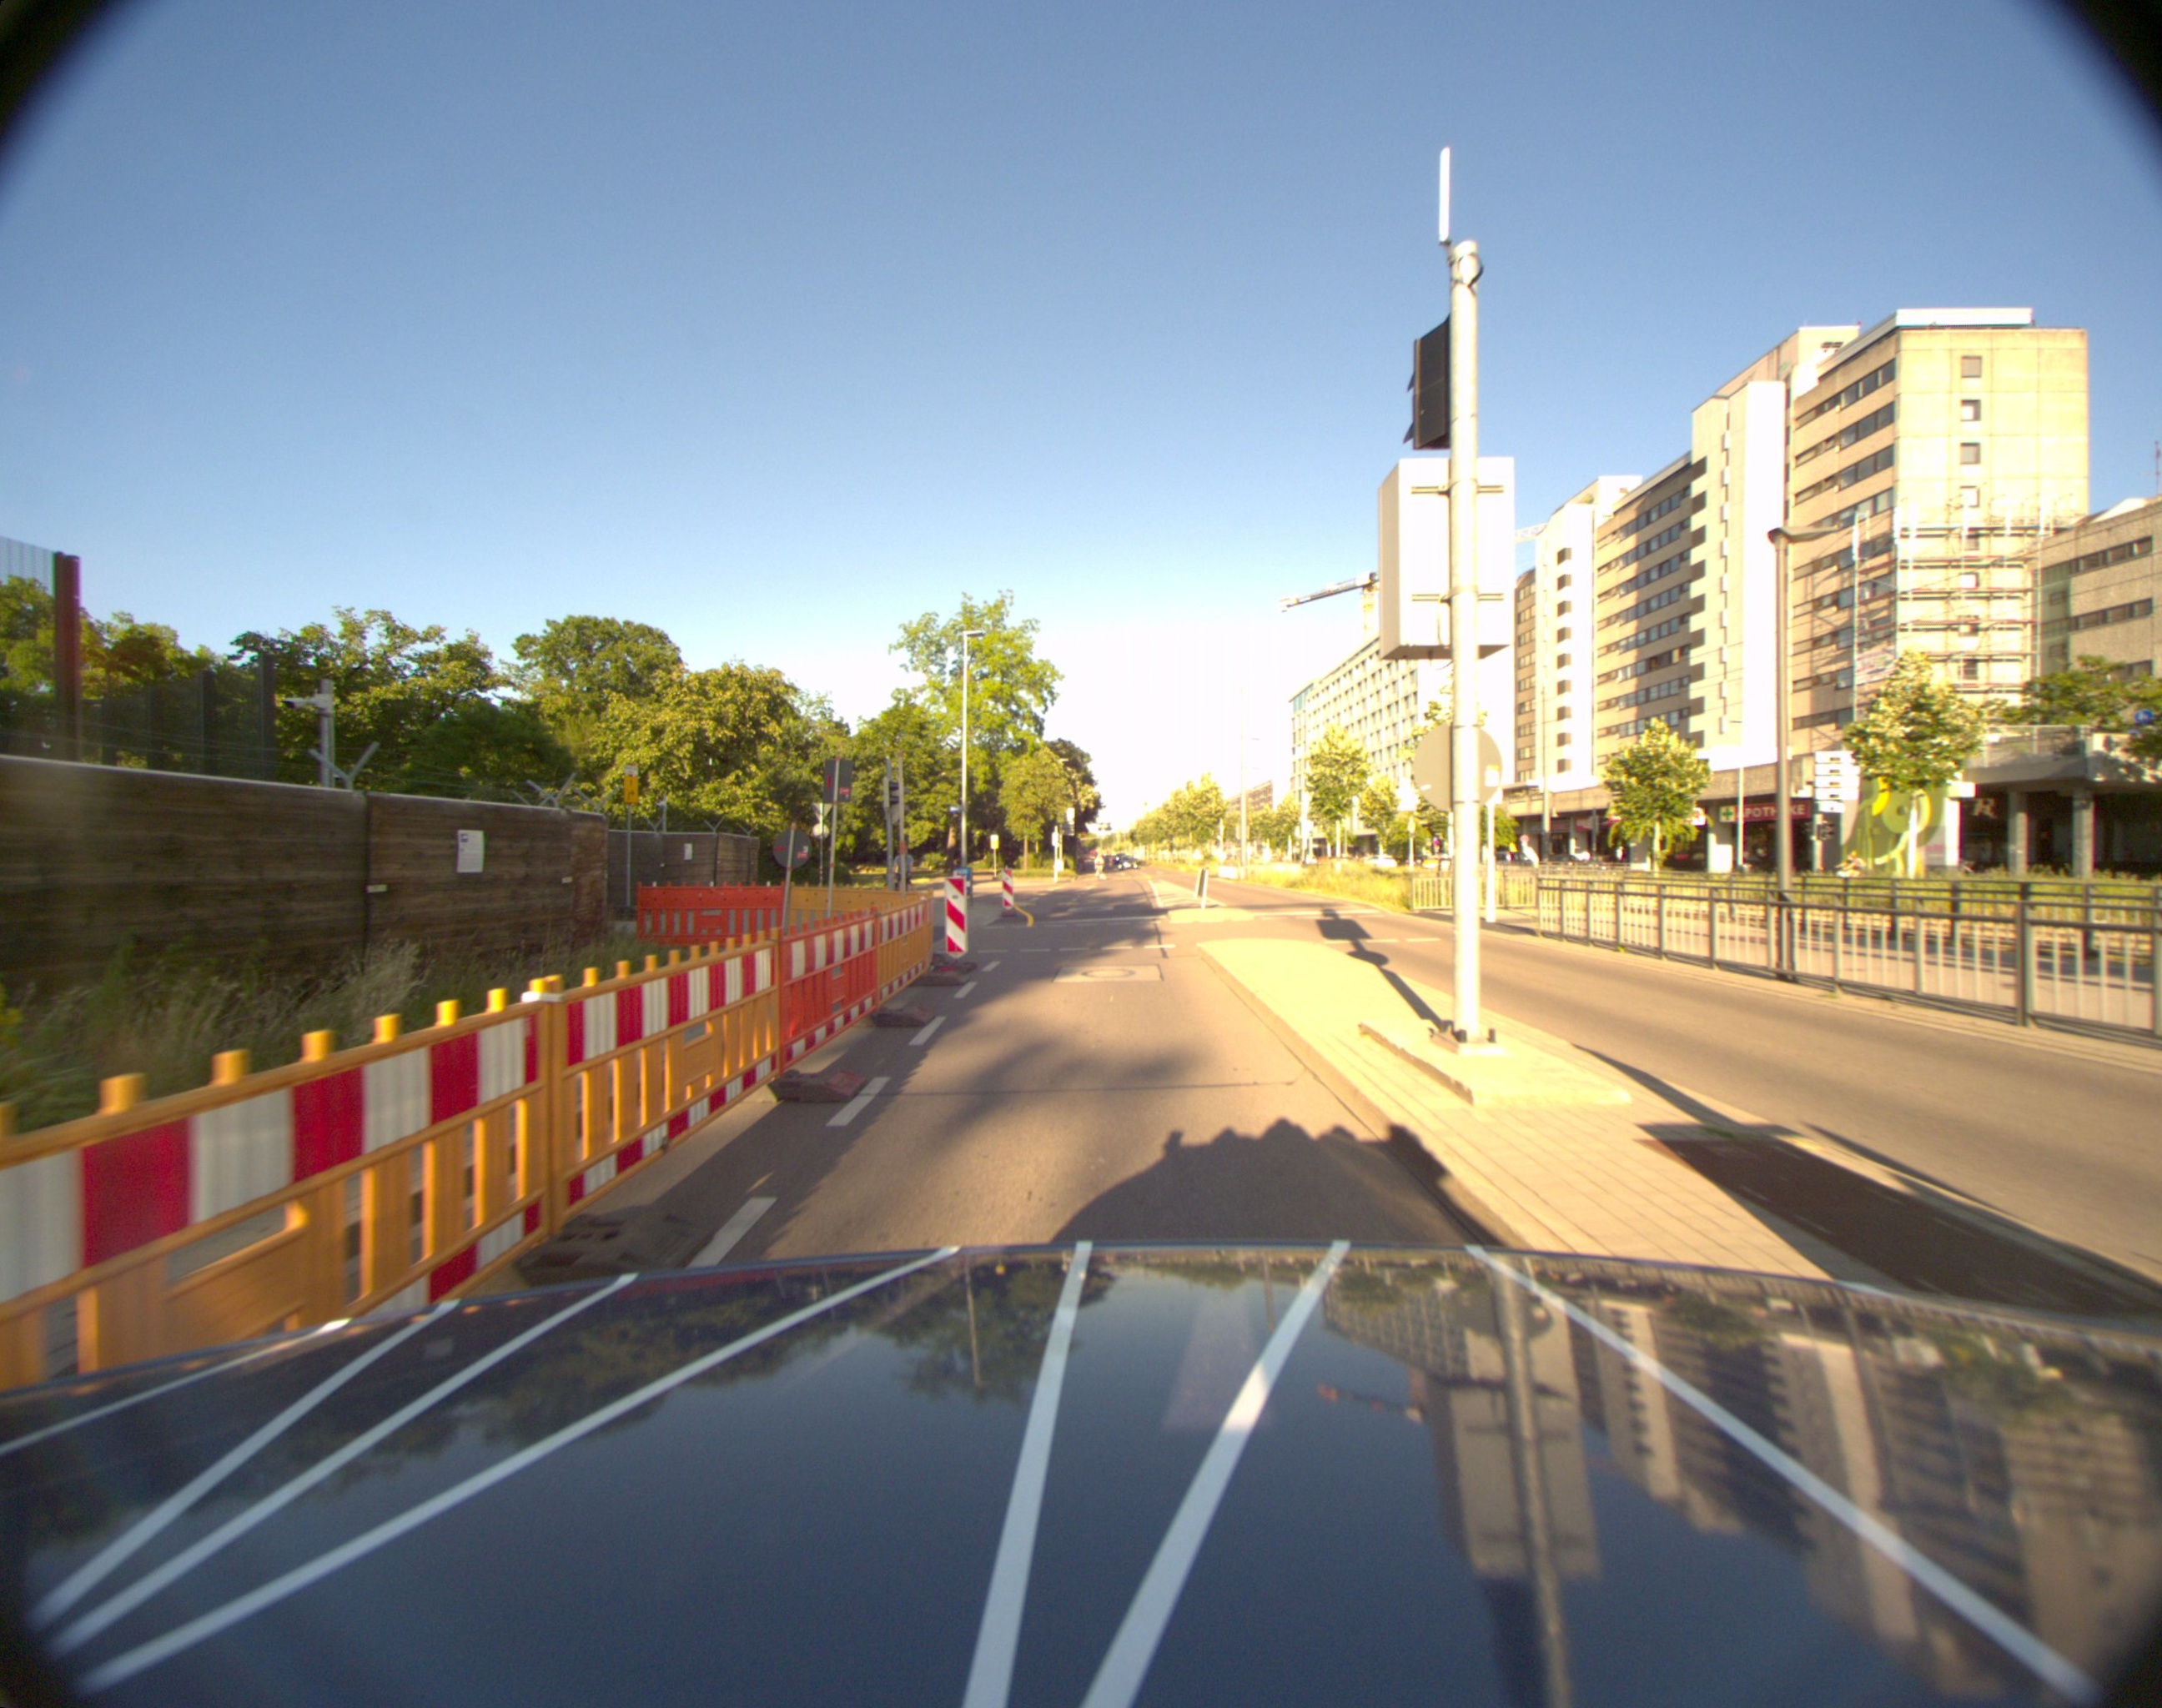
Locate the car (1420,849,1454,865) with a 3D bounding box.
[{"bbox_3d":[35.534,0.317,75.744,3.808,1.436,1.785,-3,1,-44],"label":"car"}]

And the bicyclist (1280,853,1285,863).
[{"bbox_3d":[33.177,0.626,125.026,0.559,1.735,0.919,0,1,-1],"label":"bicyclist"}]

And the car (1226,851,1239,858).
[{"bbox_3d":[33.511,0.086,168.057,1.874,1.579,4.638,-2,1,1],"label":"car"}]

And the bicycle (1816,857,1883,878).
[{"bbox_3d":[33.932,0.595,33.578,0.507,0.886,2.027,-1,1,-23],"label":"bicycle"}]

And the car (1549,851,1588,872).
[{"bbox_3d":[36.119,0.526,56.271,3.473,1.394,1.617,-3,1,-43],"label":"car"}]

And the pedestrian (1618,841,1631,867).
[{"bbox_3d":[41.787,-0.030,58.457,0.549,2.002,0.654,-1,1,1],"label":"pedestrian"}]

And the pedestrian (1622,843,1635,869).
[{"bbox_3d":[42.924,0.133,59.613,0.549,2.002,0.654,-1,1,1],"label":"pedestrian"}]

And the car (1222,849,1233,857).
[{"bbox_3d":[34.917,-0.241,181.563,1.874,1.692,4.488,-2,1,1],"label":"car"}]

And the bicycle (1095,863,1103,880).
[{"bbox_3d":[1.159,1.120,48.943,0.506,1.018,1.505,-1,1,1],"label":"bicycle"}]

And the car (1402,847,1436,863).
[{"bbox_3d":[35.432,0.092,79.515,4.555,1.436,1.617,-3,1,-44],"label":"car"}]

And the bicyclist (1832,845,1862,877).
[{"bbox_3d":[33.855,0.283,33.580,0.737,1.386,0.715,-1,1,-24],"label":"bicyclist"}]

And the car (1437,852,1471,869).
[{"bbox_3d":[35.790,0.587,72.870,3.800,1.436,1.617,-3,1,-42],"label":"car"}]

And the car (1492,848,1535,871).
[{"bbox_3d":[35.756,0.412,62.791,4.204,1.681,1.617,-3,1,-40],"label":"car"}]

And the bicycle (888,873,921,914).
[{"bbox_3d":[-5.031,1.108,21.755,0.429,1.055,1.911,-1,1,1],"label":"bicycle"}]

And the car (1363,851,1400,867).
[{"bbox_3d":[29.102,0.507,73.791,1.780,1.455,4.662,-1,1,0],"label":"car"}]

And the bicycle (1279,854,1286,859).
[{"bbox_3d":[33.172,0.415,125.106,0.437,0.858,2.102,0,0,-1],"label":"bicycle"}]

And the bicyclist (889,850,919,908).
[{"bbox_3d":[-5.003,0.680,21.524,0.585,1.605,0.903,-1,1,1],"label":"bicyclist"}]

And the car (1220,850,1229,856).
[{"bbox_3d":[39.532,-0.300,209.483,1.613,1.370,3.879,-2,1,1],"label":"car"}]

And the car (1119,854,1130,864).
[{"bbox_3d":[6.535,0.794,114.841,1.591,1.449,4.000,0,0,2],"label":"car"}]

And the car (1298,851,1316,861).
[{"bbox_3d":[35.168,0.267,118.375,1.874,1.458,3.389,-2,1,1],"label":"car"}]

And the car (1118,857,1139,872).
[{"bbox_3d":[4.810,1.056,77.777,1.998,1.346,4.000,-1,0,2],"label":"car"}]

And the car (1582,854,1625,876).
[{"bbox_3d":[34.756,0.750,50.535,3.473,1.266,1.617,-3,1,-43],"label":"car"}]

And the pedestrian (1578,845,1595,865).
[{"bbox_3d":[40.717,0.072,61.161,0.776,1.630,0.882,-1,1,0],"label":"pedestrian"}]

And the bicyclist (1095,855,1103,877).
[{"bbox_3d":[1.163,0.783,48.870,0.516,1.399,0.805,0,1,0],"label":"bicyclist"}]
